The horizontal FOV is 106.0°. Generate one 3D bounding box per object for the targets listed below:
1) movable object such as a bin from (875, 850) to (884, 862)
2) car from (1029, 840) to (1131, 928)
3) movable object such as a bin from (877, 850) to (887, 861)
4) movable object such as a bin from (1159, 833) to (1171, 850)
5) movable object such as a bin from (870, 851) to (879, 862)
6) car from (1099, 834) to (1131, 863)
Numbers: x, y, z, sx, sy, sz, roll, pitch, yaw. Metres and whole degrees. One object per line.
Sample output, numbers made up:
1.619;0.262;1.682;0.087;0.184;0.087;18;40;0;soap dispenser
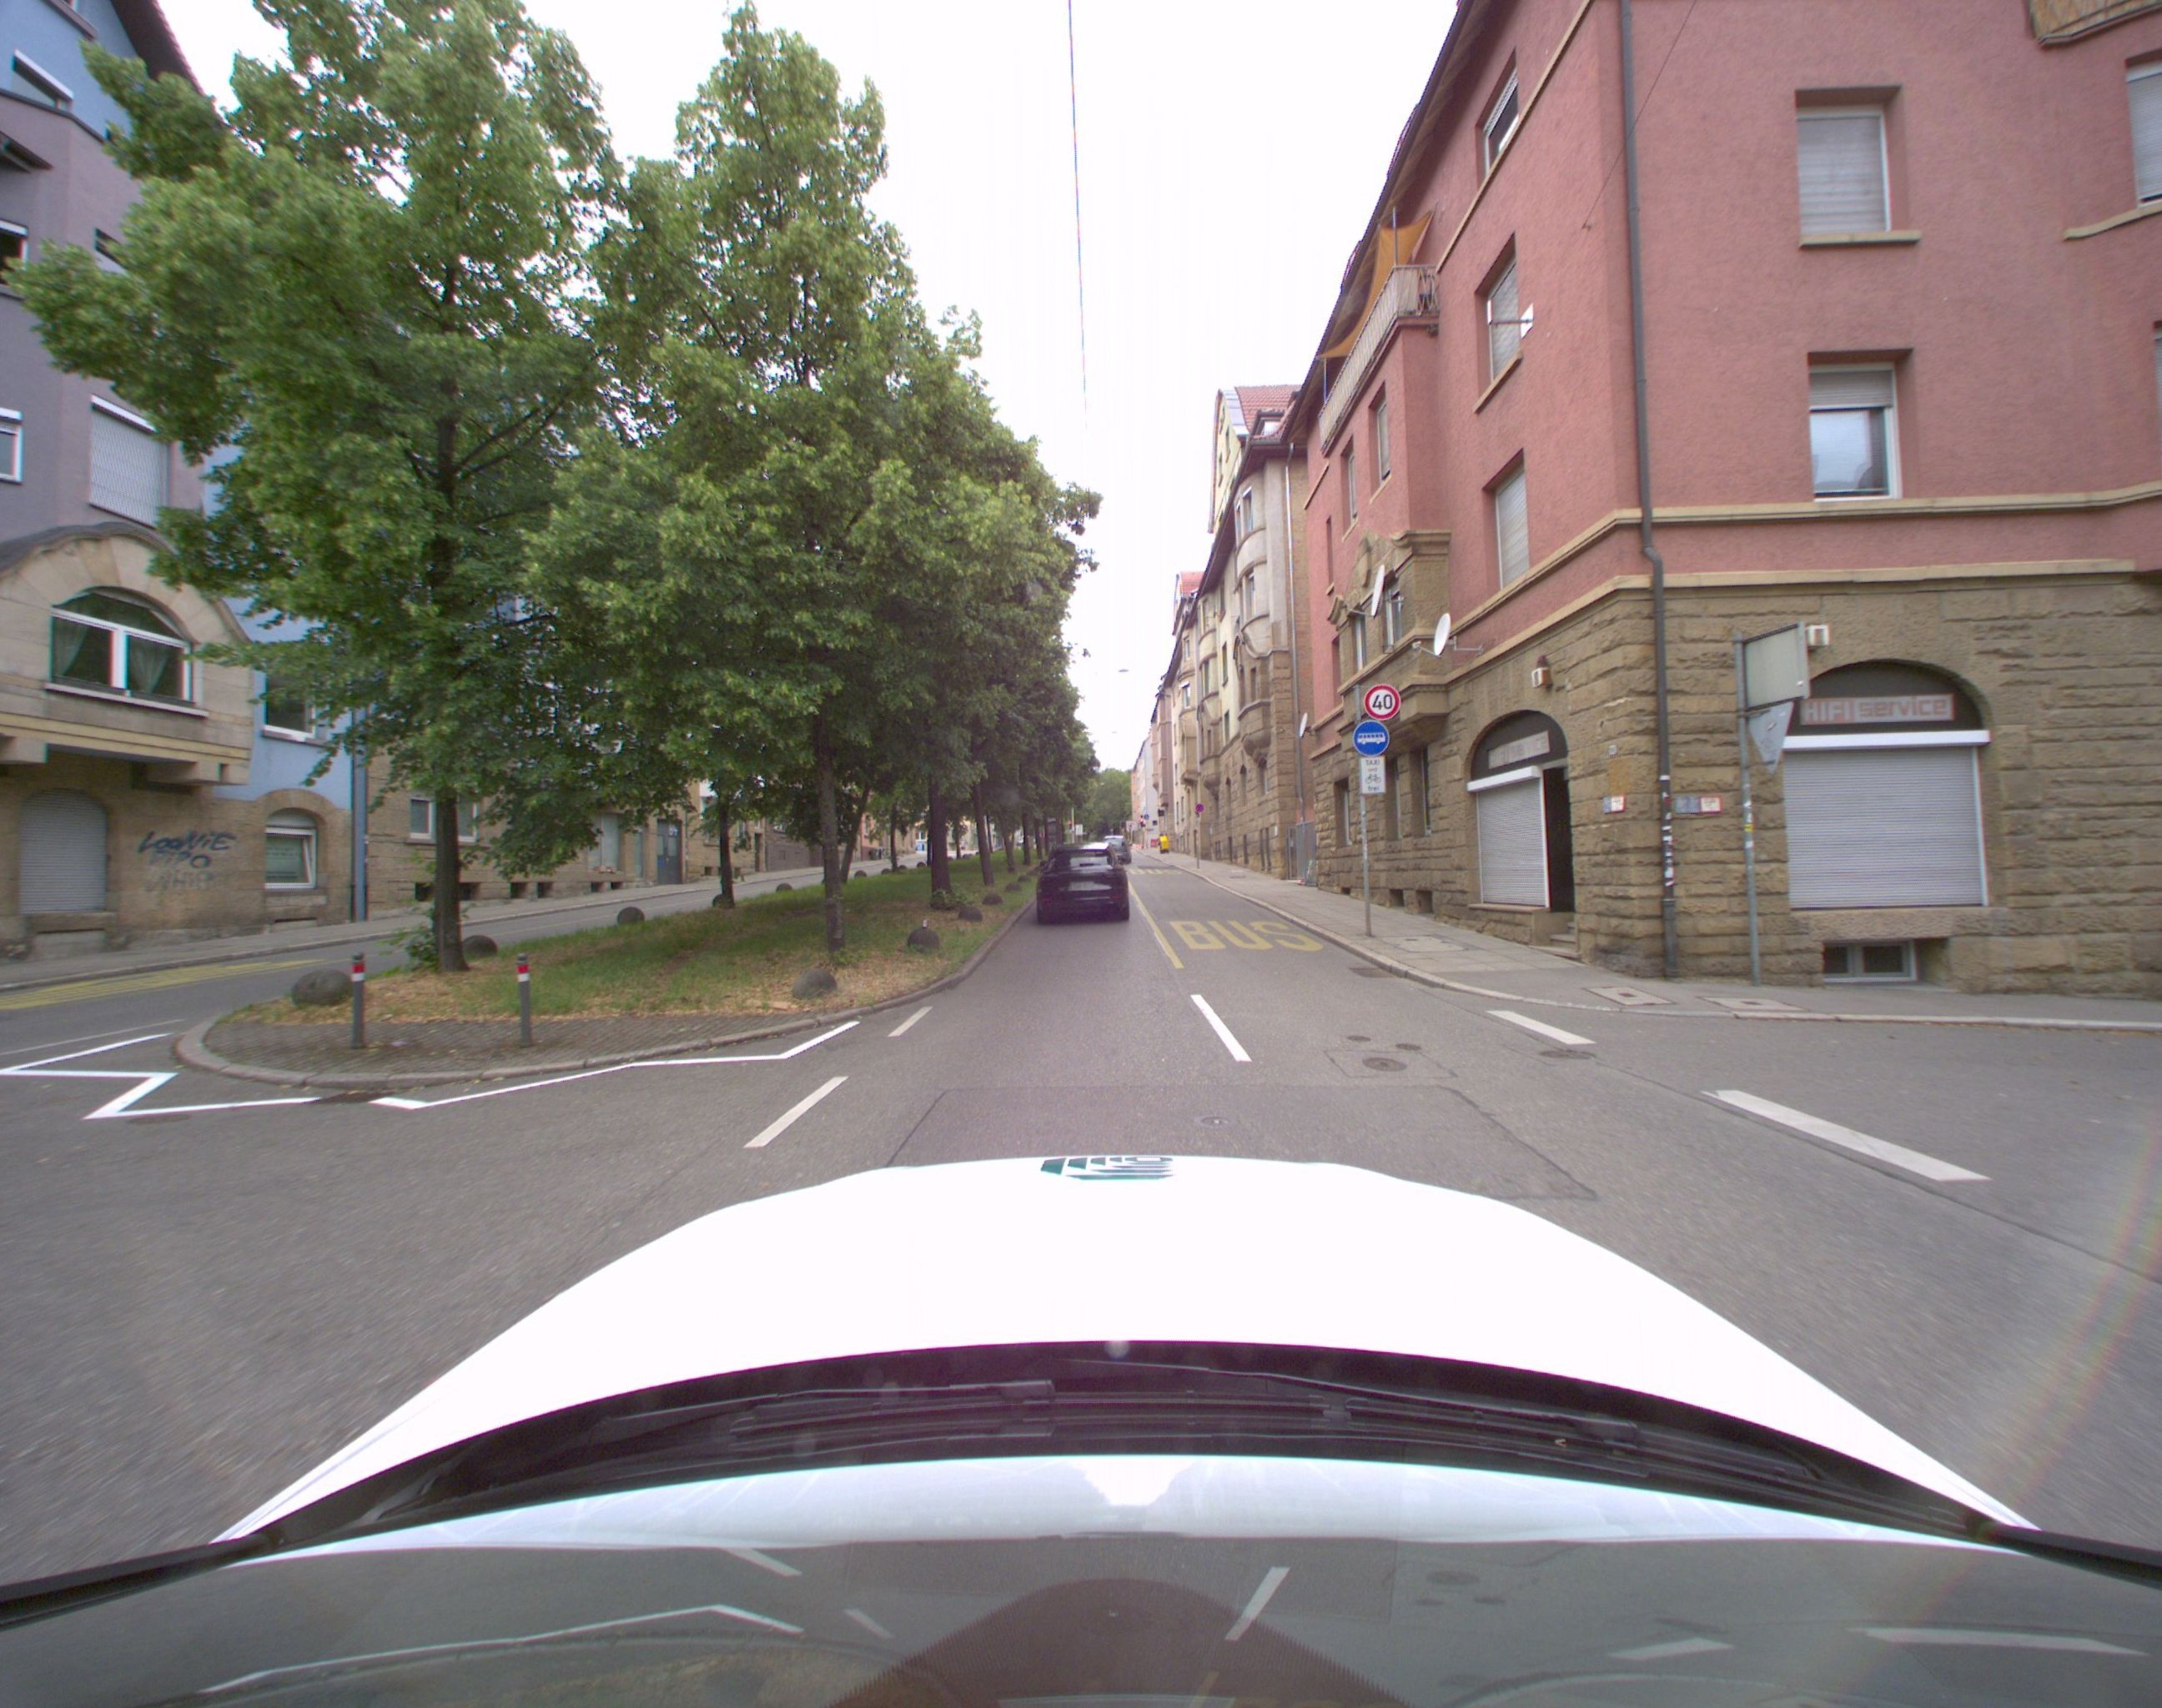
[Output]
-16.446;0.163;66.468;0.607;0.904;0.601;-1;1;-3;movable object such as a bin
0.050;0.570;18.560;1.987;1.652;4.003;-3;1;2;car
-16.418;0.154;67.204;0.607;0.904;0.601;-1;1;-3;movable object such as a bin
7.045;-1.033;68.313;0.717;1.420;1.693;-3;0;-1;movable object such as a bin
-16.525;0.186;65.104;0.607;0.904;0.601;-1;1;-3;movable object such as a bin
1.965;-0.329;47.481;1.746;1.593;3.632;-2;1;1;car
